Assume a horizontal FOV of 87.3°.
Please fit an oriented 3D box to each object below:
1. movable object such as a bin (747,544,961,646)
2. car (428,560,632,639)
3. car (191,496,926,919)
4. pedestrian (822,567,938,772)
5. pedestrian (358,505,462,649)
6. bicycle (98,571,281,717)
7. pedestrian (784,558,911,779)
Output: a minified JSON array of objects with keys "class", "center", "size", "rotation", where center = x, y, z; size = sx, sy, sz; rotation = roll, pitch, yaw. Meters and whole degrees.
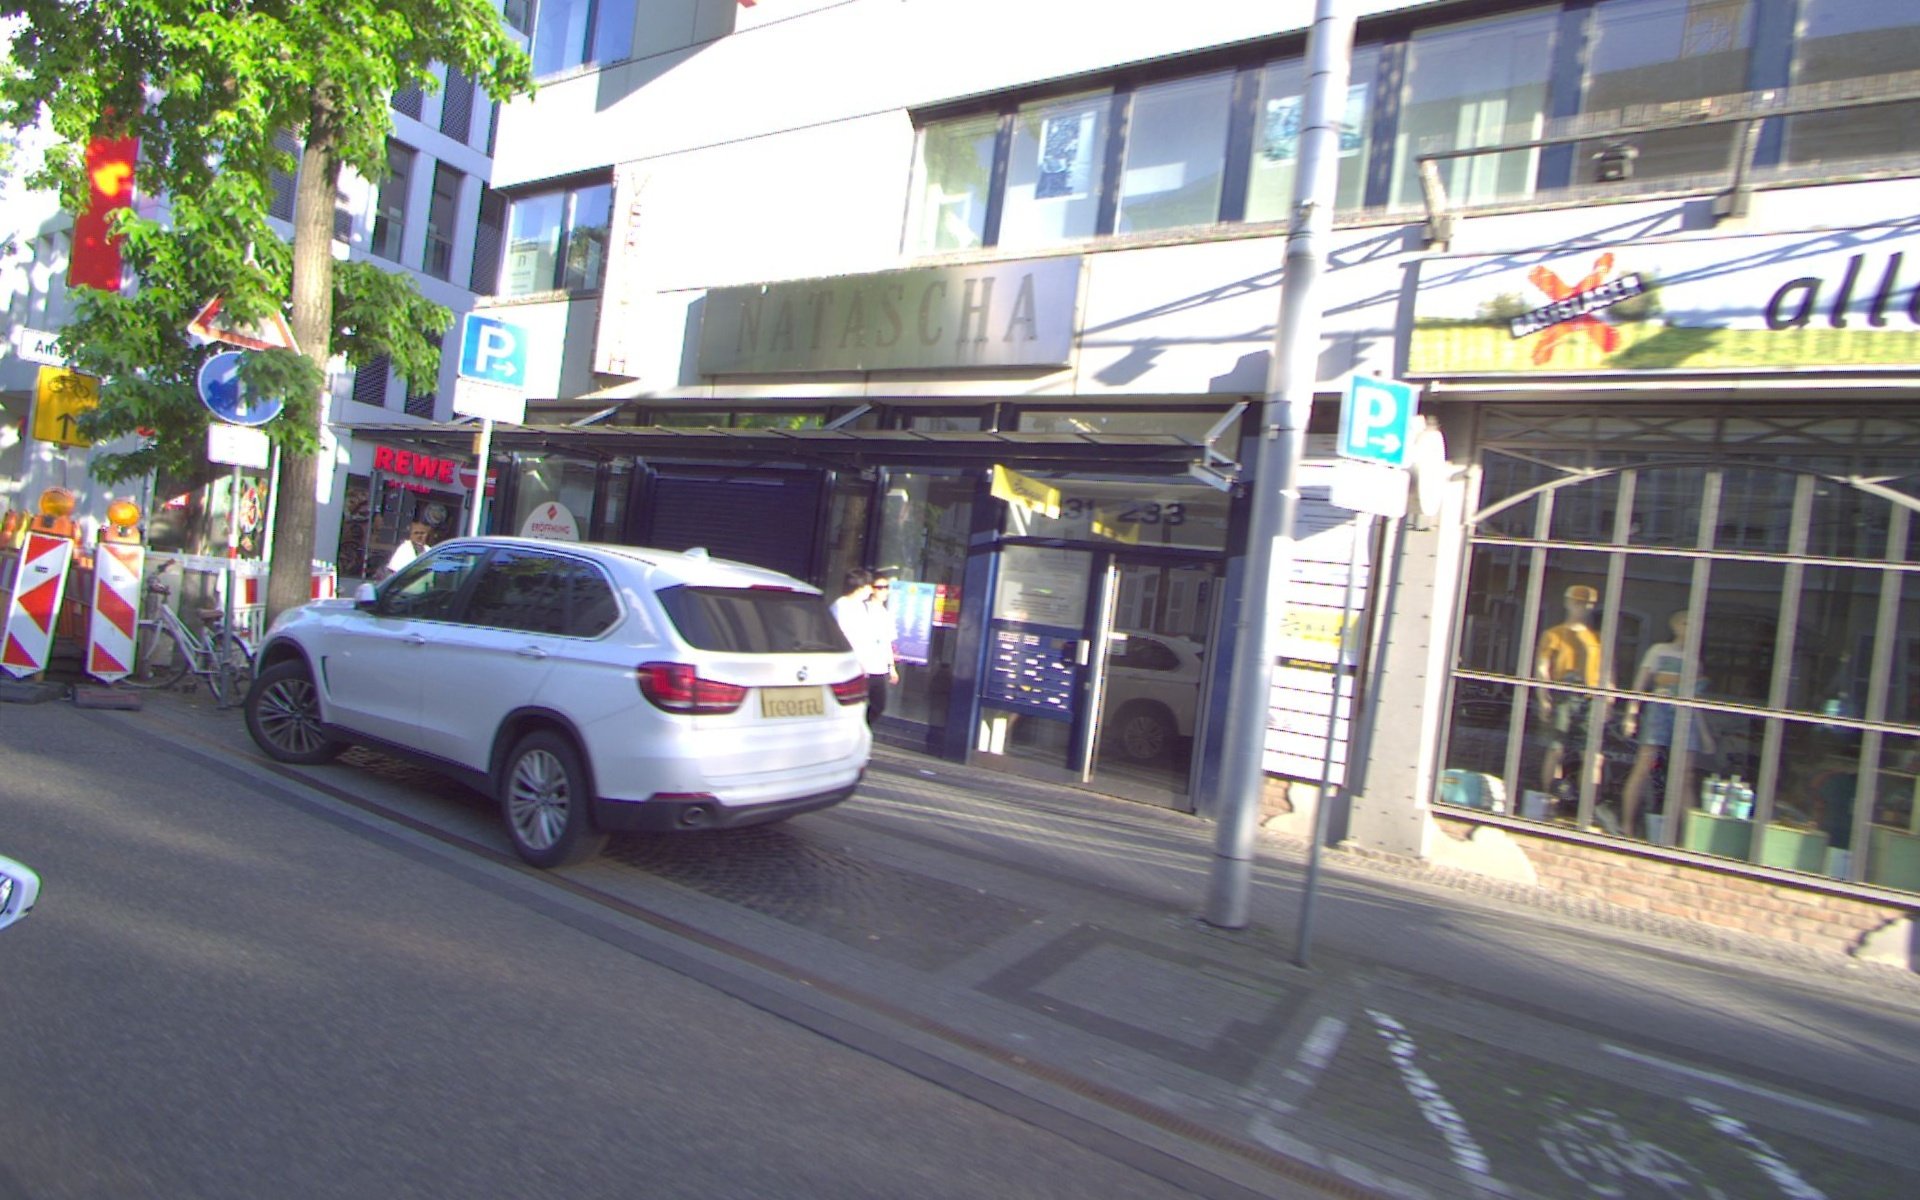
[{"class":"movable object such as a bin","center":[-4.121,-0.129,40.496],"size":[8.150,2.944,2.794],"rotation":[9,-1,-40]},{"class":"car","center":[-10.416,0.052,24.691],"size":[1.766,1.434,4.325],"rotation":[5,-3,30]},{"class":"car","center":[-2.874,0.430,6.841],"size":[4.824,1.760,2.024],"rotation":[7,2,31]},{"class":"pedestrian","center":[-0.767,0.662,9.736],"size":[0.624,1.853,0.689],"rotation":[7,0,31]},{"class":"pedestrian","center":[-7.906,-0.323,14.471],"size":[0.903,1.921,0.834],"rotation":[7,1,35]},{"class":"bicycle","center":[-6.681,0.355,8.690],"size":[1.898,0.993,0.494],"rotation":[7,0,30]},{"class":"pedestrian","center":[-1.002,0.609,9.038],"size":[0.624,1.853,0.706],"rotation":[7,0,31]}]
